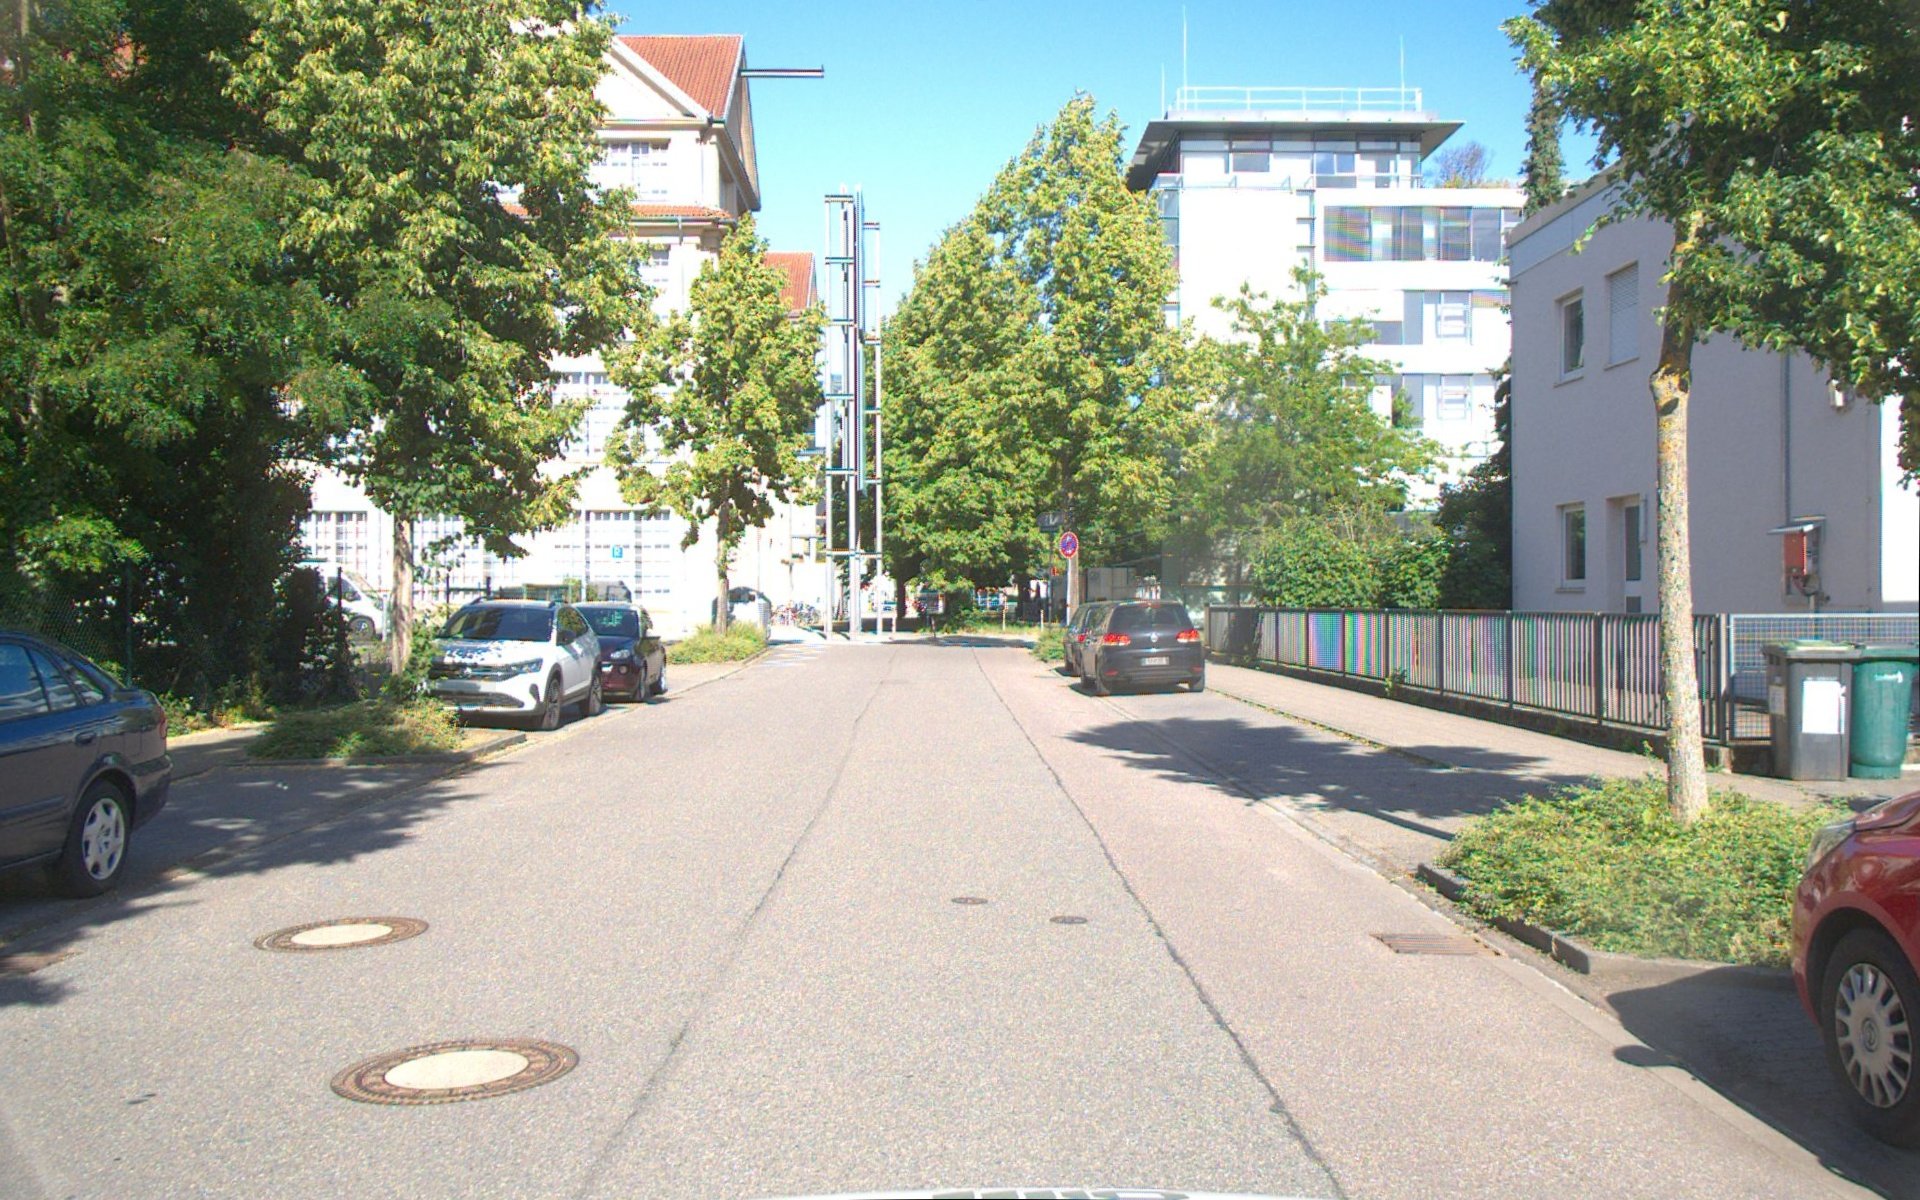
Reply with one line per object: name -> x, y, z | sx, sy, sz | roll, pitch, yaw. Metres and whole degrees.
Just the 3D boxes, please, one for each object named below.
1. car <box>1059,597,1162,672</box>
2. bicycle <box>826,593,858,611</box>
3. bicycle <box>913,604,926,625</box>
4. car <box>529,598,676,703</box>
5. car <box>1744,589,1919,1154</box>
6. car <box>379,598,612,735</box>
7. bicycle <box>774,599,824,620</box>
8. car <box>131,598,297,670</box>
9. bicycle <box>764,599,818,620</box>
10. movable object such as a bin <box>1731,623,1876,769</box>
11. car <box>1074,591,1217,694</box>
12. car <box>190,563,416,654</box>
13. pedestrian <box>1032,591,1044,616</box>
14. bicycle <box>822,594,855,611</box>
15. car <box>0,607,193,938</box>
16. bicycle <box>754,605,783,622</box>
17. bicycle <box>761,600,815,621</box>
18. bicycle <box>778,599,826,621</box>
car -> 3.045, 0.677, 34.164 | 1.711, 1.447, 4.423 | 0, 0, 0
bicycle -> -7.495, 0.120, 105.220 | 2.015, 1.085, 0.507 | -1, 0, 1
bicycle -> -2.417, 0.880, 98.803 | 0.607, 1.218, 2.129 | -1, 0, -6
car -> -5.539, 0.747, 26.002 | 1.683, 1.500, 3.544 | 1, 0, -3
car -> 3.448, 0.720, 3.483 | 1.641, 1.530, 3.845 | -2, 0, -2
car -> -5.632, 0.753, 20.573 | 1.803, 1.500, 4.001 | 1, 0, -1
bicycle -> -8.942, 0.529, 91.766 | 2.746, 1.171, 0.718 | -1, 0, -6
car -> -18.196, 0.785, 40.611 | 1.952, 1.638, 4.427 | -1, 0, 2
bicycle -> -8.827, 0.484, 86.440 | 2.743, 1.081, 0.718 | 0, 0, -1
movable object such as a bin -> 6.601, 0.730, 12.981 | 0.619, 1.089, 0.979 | 0, -1, -2
car -> 3.010, 0.647, 27.535 | 1.748, 1.542, 3.998 | -1, 0, -2
car -> -20.445, 0.253, 51.677 | 6.135, 2.642, 2.164 | -1, 0, -1
pedestrian -> 4.998, 0.209, 105.977 | 0.701, 1.577, 0.690 | -1, 0, 5
bicycle -> -7.683, 0.144, 104.394 | 2.015, 1.085, 0.507 | -1, 0, 1
car -> -5.316, 0.789, 7.371 | 1.803, 1.500, 4.359 | 1, 0, -1
bicycle -> -9.471, 0.668, 81.875 | 0.761, 0.806, 2.886 | 0, 0, 7
bicycle -> -8.812, 0.537, 84.798 | 2.746, 1.081, 0.718 | 0, 0, -6
bicycle -> -8.917, 0.556, 93.136 | 2.678, 1.171, 0.718 | 0, 0, -6
